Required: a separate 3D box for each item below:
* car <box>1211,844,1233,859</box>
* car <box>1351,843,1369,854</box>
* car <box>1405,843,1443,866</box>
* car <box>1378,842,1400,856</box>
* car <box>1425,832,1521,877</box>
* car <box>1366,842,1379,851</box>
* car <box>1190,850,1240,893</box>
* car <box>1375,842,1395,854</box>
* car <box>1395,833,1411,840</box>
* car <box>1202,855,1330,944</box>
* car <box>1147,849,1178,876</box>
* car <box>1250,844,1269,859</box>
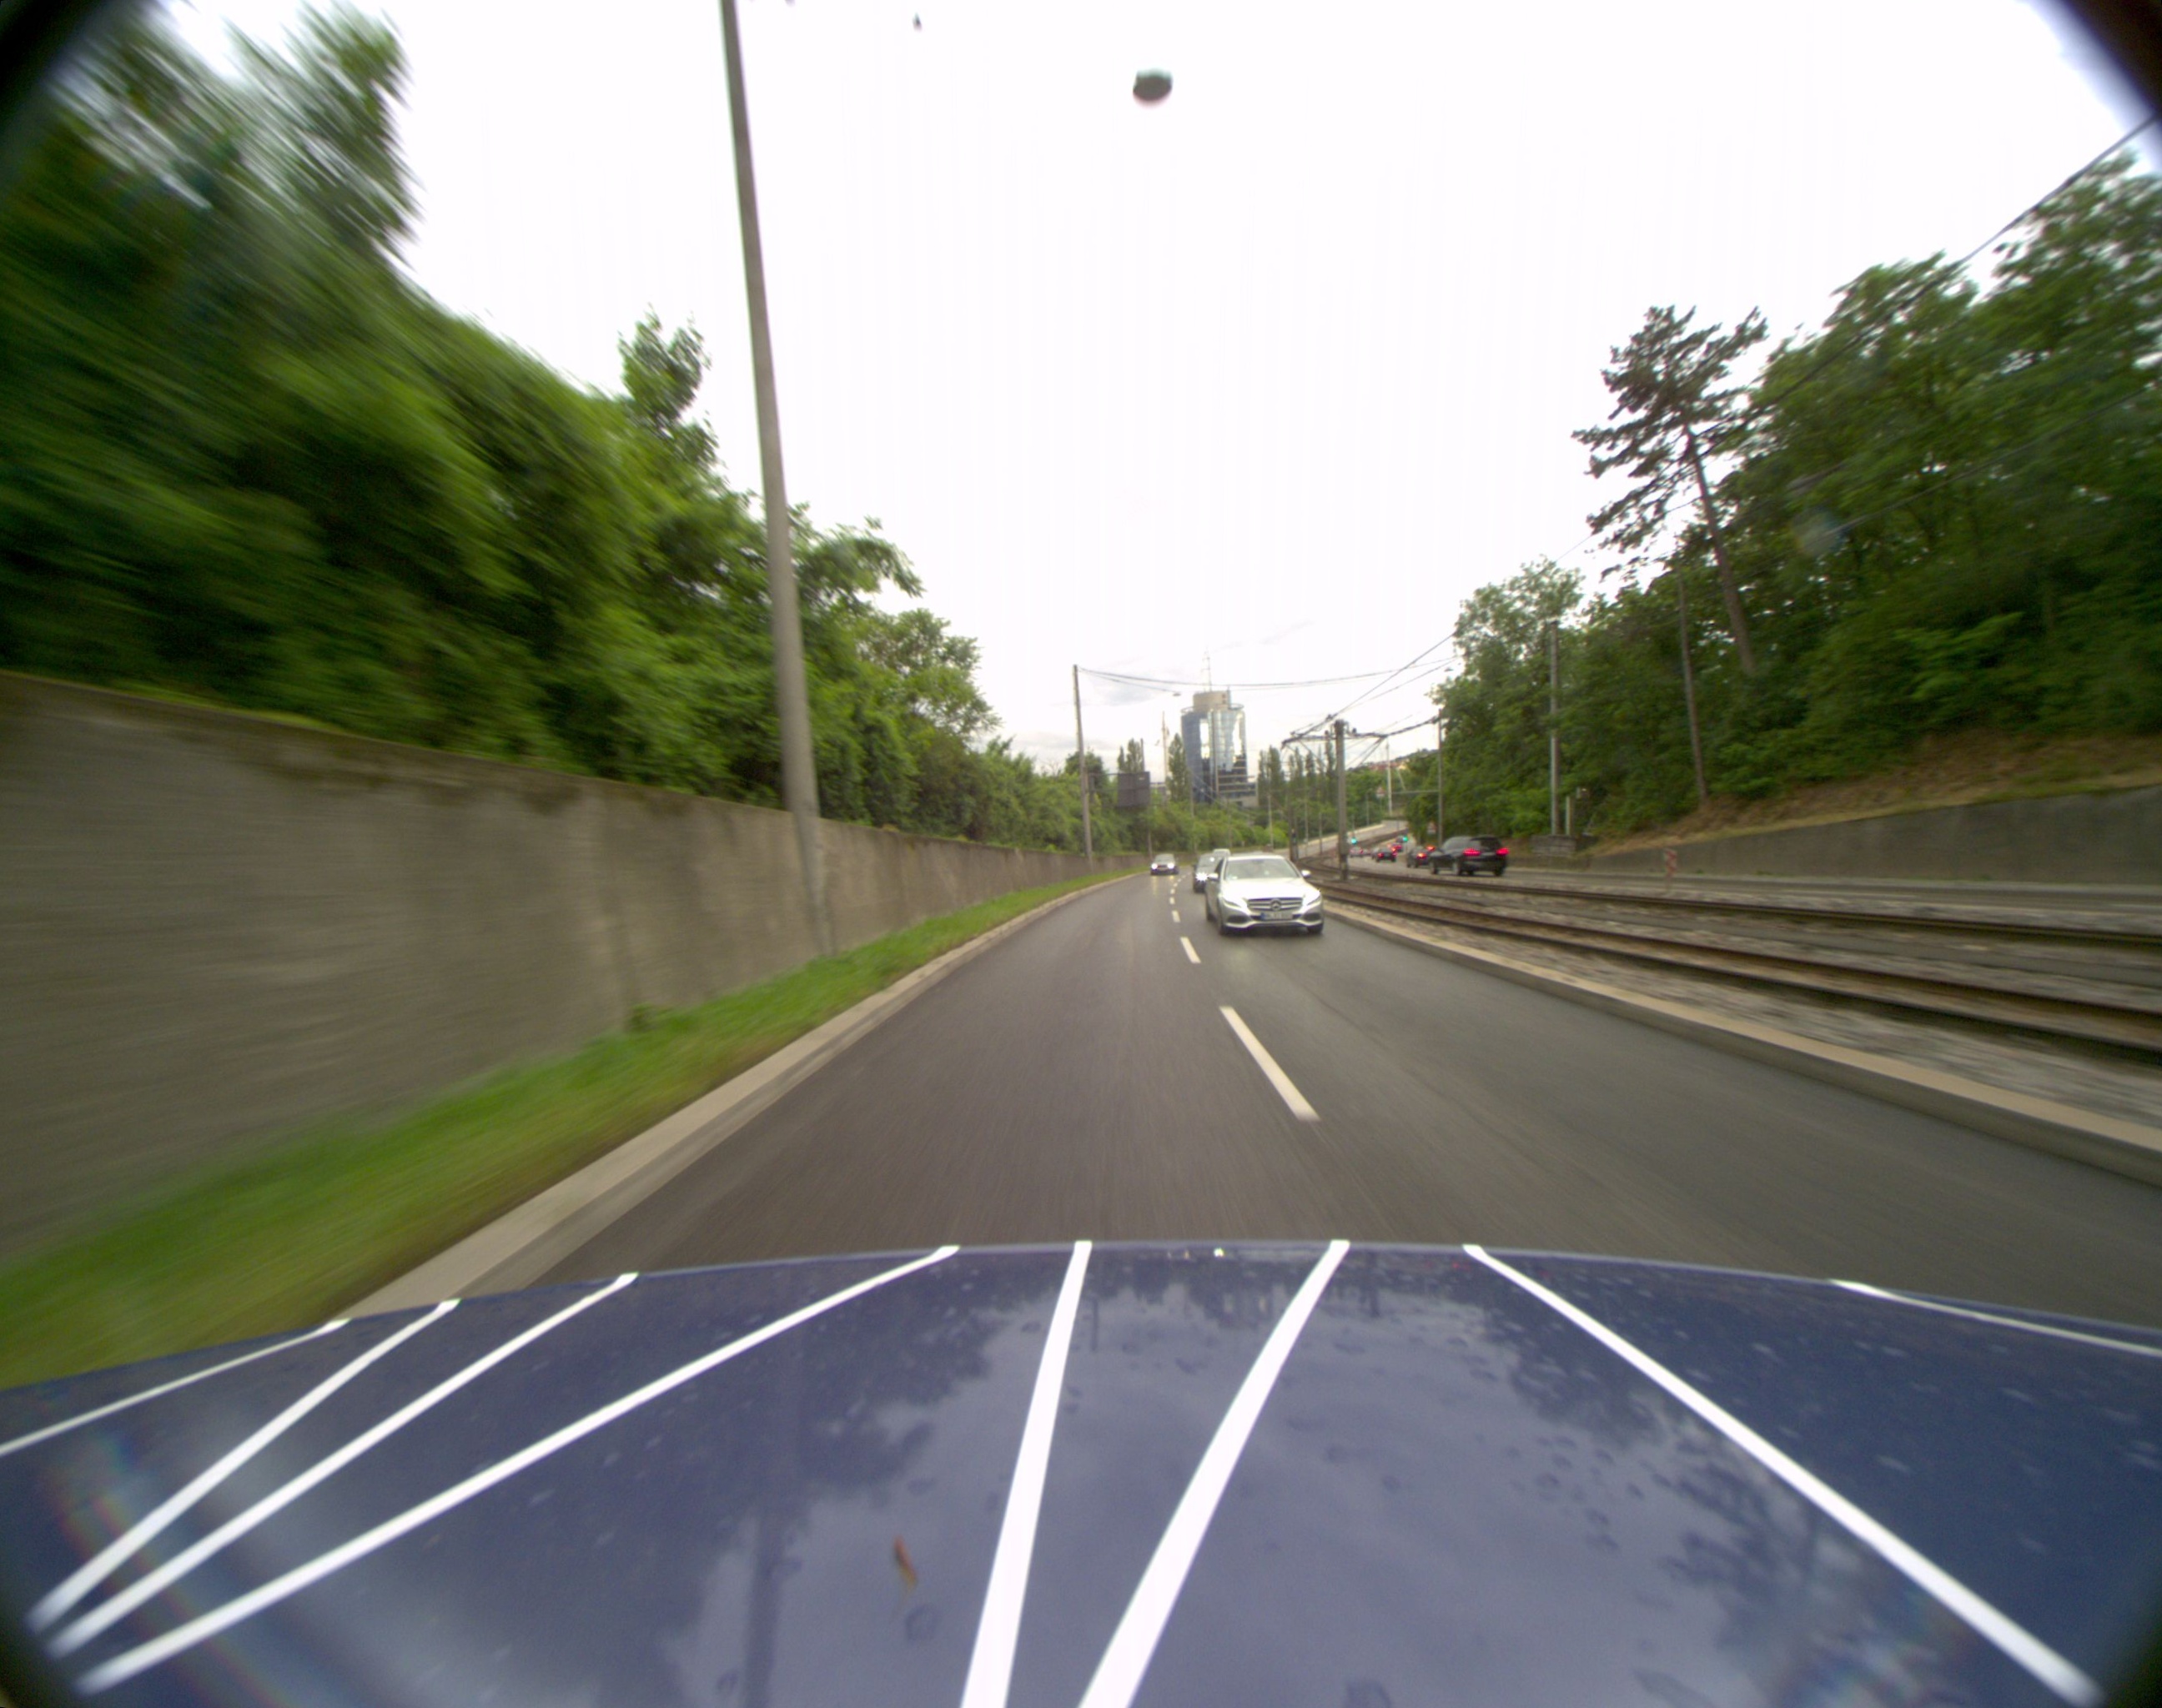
[{"bbox_3d":[17.679,-0.302,95.311,1.807,1.502,4.004,-3,3,22],"label":"car"},{"bbox_3d":[39.722,-0.825,108.181,1.907,1.449,4.470,-1,0,26],"label":"car"},{"bbox_3d":[23.269,-0.002,51.665,1.827,1.462,4.419,-1,1,17],"label":"car"},{"bbox_3d":[30.417,-0.499,75.162,1.895,1.373,4.459,-1,0,21],"label":"car"},{"bbox_3d":[17.783,-0.005,34.792,2.238,1.820,5.139,-2,0,7],"label":"car"},{"bbox_3d":[44.827,-1.134,116.873,1.665,1.193,4.469,-2,0,23],"label":"car"},{"bbox_3d":[5.144,0.617,29.434,1.728,1.462,3.889,-3,0,8],"label":"car"},{"bbox_3d":[38.247,-0.727,95.455,1.802,1.415,4.470,0,1,29],"label":"car"},{"bbox_3d":[67.840,-3.672,159.934,2.210,1.449,4.470,-2,0,33],"label":"car"},{"bbox_3d":[3.448,0.773,14.955,1.860,1.395,4.316,-1,1,6],"label":"car"},{"bbox_3d":[5.590,0.572,52.563,1.809,1.502,3.999,-4,3,2],"label":"car"},{"bbox_3d":[25.181,-0.415,107.055,1.996,2.002,4.500,-2,0,21],"label":"car"}]
